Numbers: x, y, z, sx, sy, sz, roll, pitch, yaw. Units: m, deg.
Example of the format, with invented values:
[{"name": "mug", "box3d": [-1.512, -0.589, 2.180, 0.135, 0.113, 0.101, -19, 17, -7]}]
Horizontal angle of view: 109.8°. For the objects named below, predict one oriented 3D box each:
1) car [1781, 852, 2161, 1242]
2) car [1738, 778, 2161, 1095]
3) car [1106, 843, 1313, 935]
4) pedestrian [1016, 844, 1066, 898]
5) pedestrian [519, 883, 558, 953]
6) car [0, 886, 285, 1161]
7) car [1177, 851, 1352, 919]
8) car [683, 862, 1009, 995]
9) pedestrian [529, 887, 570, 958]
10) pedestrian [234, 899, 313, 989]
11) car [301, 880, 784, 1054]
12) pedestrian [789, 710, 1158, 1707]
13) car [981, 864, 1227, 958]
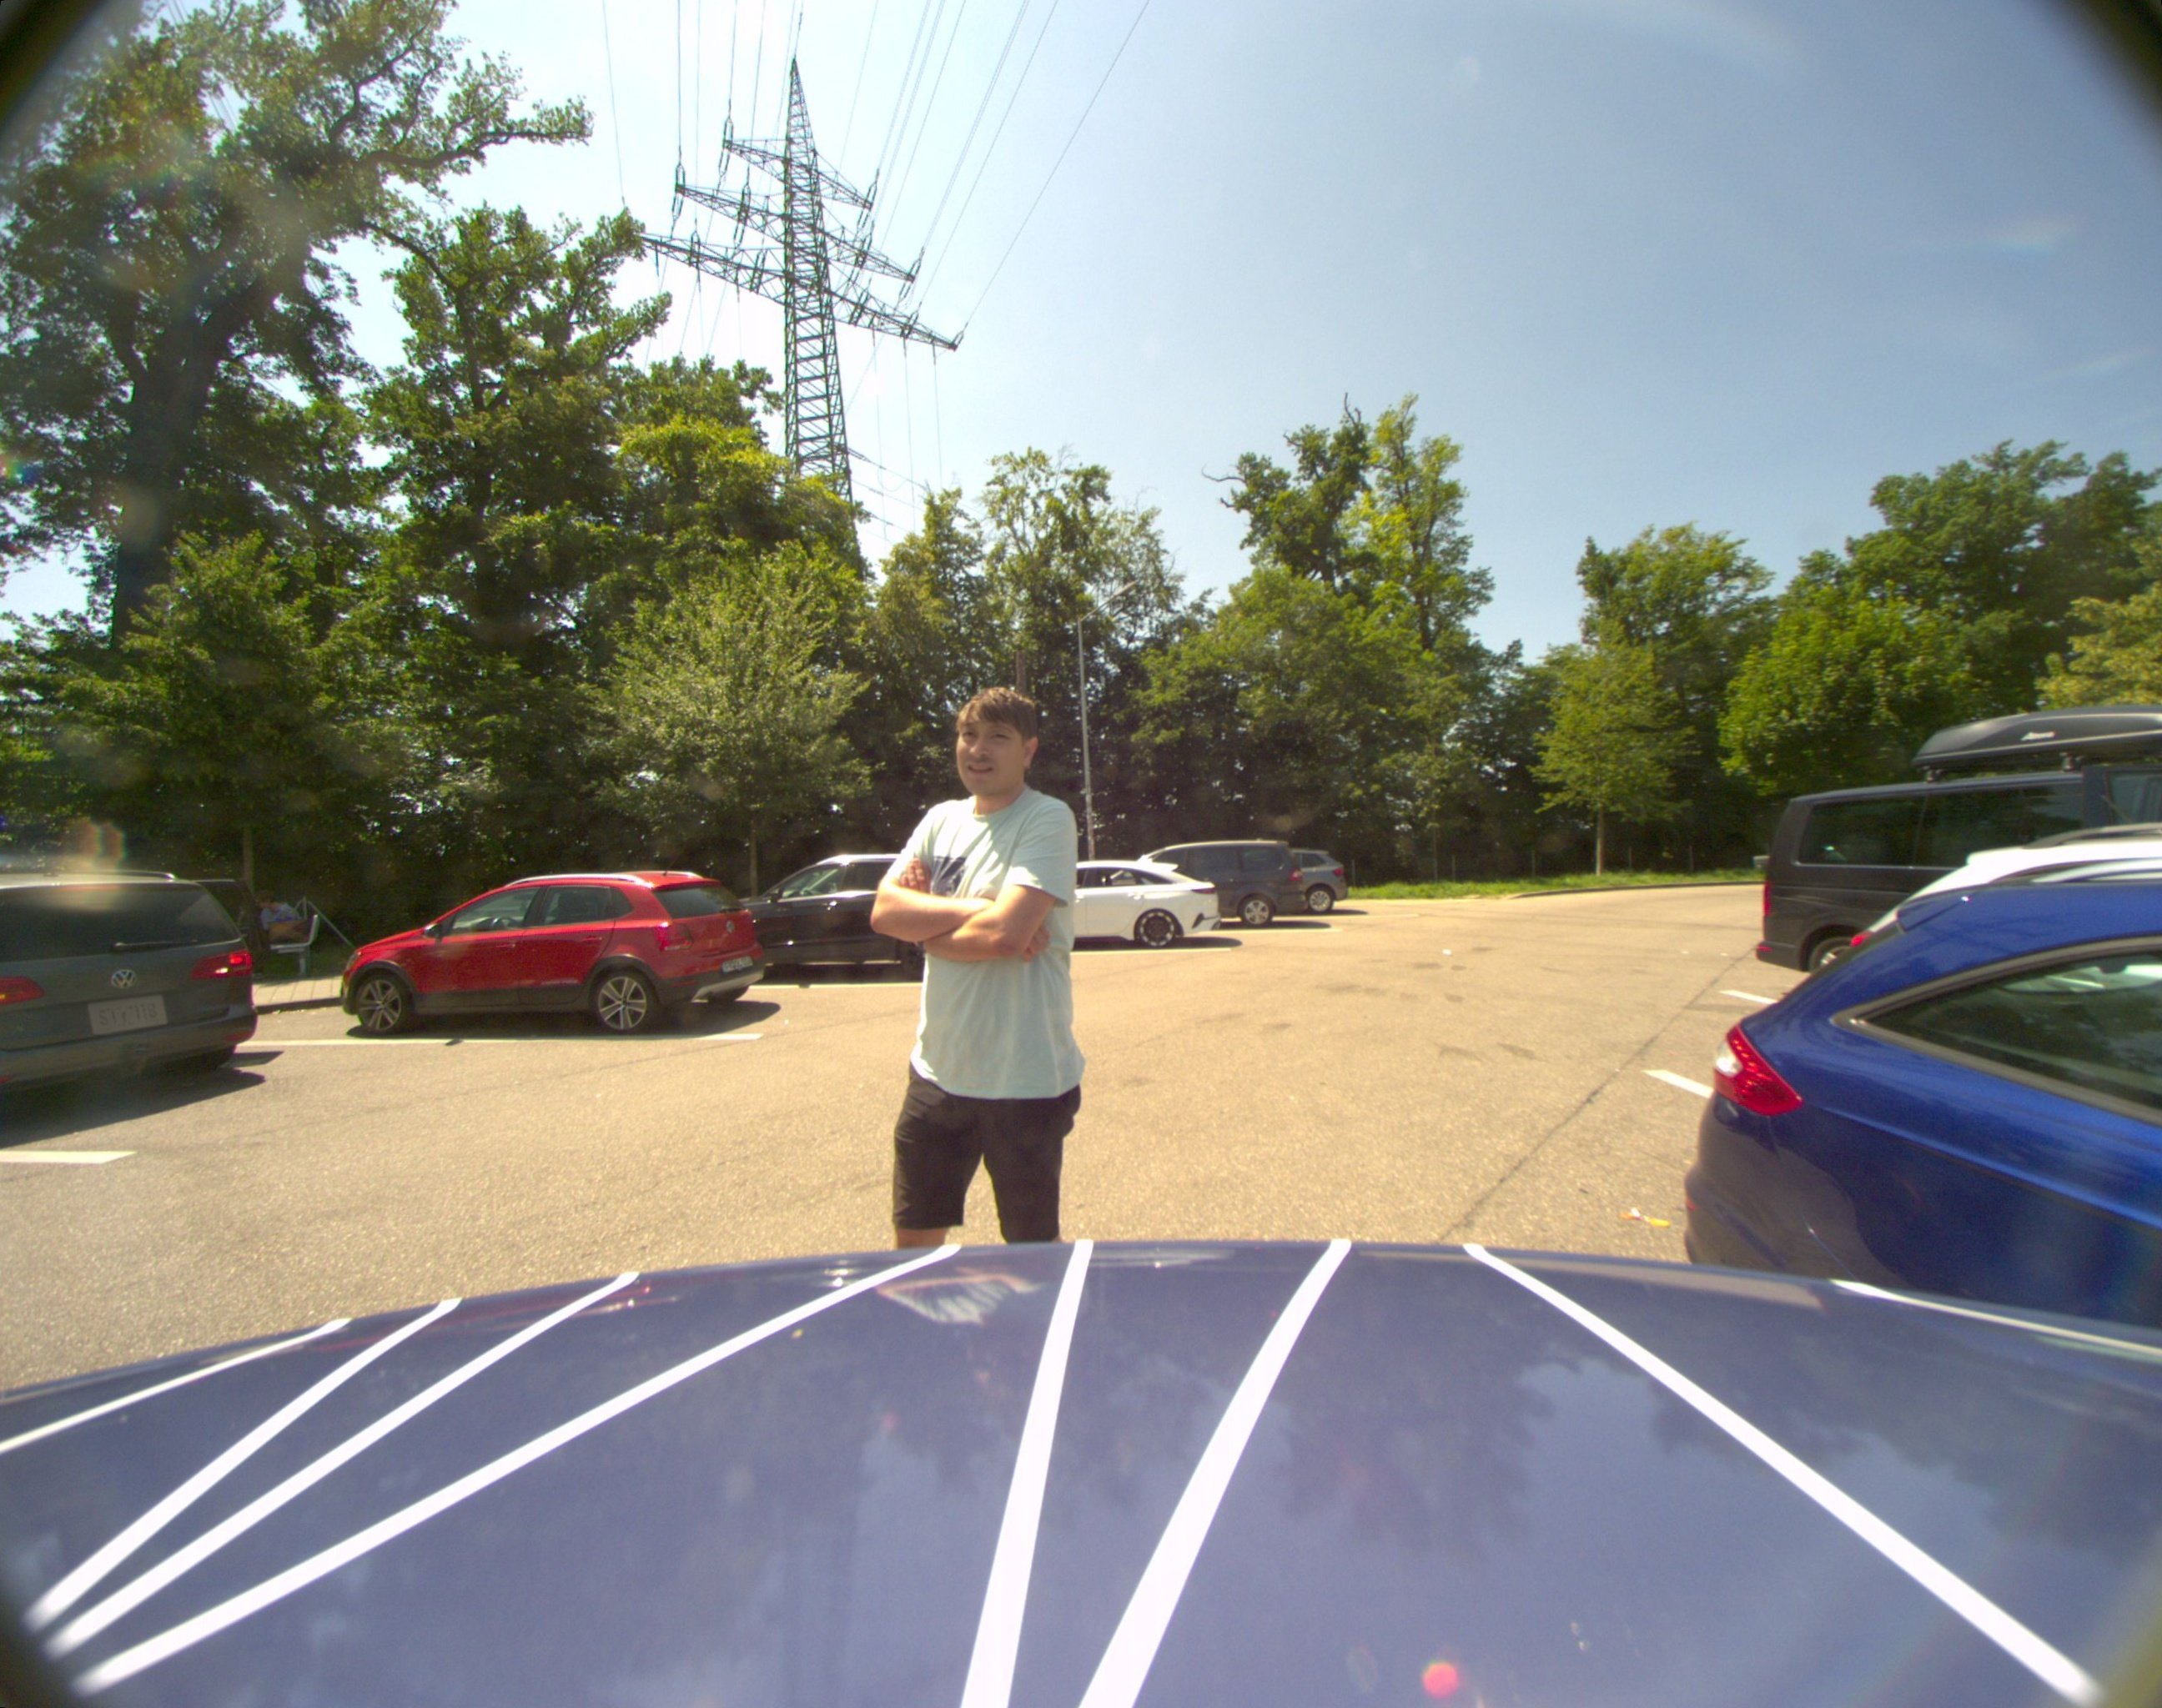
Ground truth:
[{"name": "car", "box3d": [4.783, 0.702, 2.418, 1.607, 1.405, 3.743, -2, -1, -1]}, {"name": "car", "box3d": [7.311, 0.456, 5.014, 2.048, 1.850, 4.430, -2, -1, -1]}, {"name": "car", "box3d": [2.514, 0.680, 15.481, 3.882, 1.680, 1.882, -1, 0, 5]}, {"name": "pedestrian", "box3d": [-0.984, 0.416, 18.819, 0.890, 1.292, 0.865, -2, 0, 23]}, {"name": "pedestrian", "box3d": [-10.949, 1.281, 15.331, 0.490, 1.367, 0.506, -2, 0, 41]}, {"name": "car", "box3d": [-8.338, 1.095, 5.439, 3.950, 1.581, 1.753, -1, 1, 11]}, {"name": "car", "box3d": [4.263, 0.707, 18.125, 3.805, 1.468, 1.743, -1, 1, 5]}, {"name": "car", "box3d": [-3.003, 0.938, 10.282, 3.806, 1.538, 1.759, -1, 1, 2]}, {"name": "pedestrian", "box3d": [-10.164, 1.298, 14.525, 0.490, 1.291, 0.506, -2, 0, 41]}, {"name": "pedestrian", "box3d": [-11.780, 1.296, 11.084, 0.680, 1.211, 0.675, -4, -2, 36]}, {"name": "car", "box3d": [-5.237, 1.064, 7.655, 3.804, 1.449, 1.637, -1, 1, 7]}, {"name": "pedestrian", "box3d": [-0.288, 0.672, 1.795, 0.634, 1.857, 0.747, -2, 0, -17]}, {"name": "car", "box3d": [0.412, 0.907, 12.731, 3.805, 1.359, 1.803, -1, 1, 5]}]
